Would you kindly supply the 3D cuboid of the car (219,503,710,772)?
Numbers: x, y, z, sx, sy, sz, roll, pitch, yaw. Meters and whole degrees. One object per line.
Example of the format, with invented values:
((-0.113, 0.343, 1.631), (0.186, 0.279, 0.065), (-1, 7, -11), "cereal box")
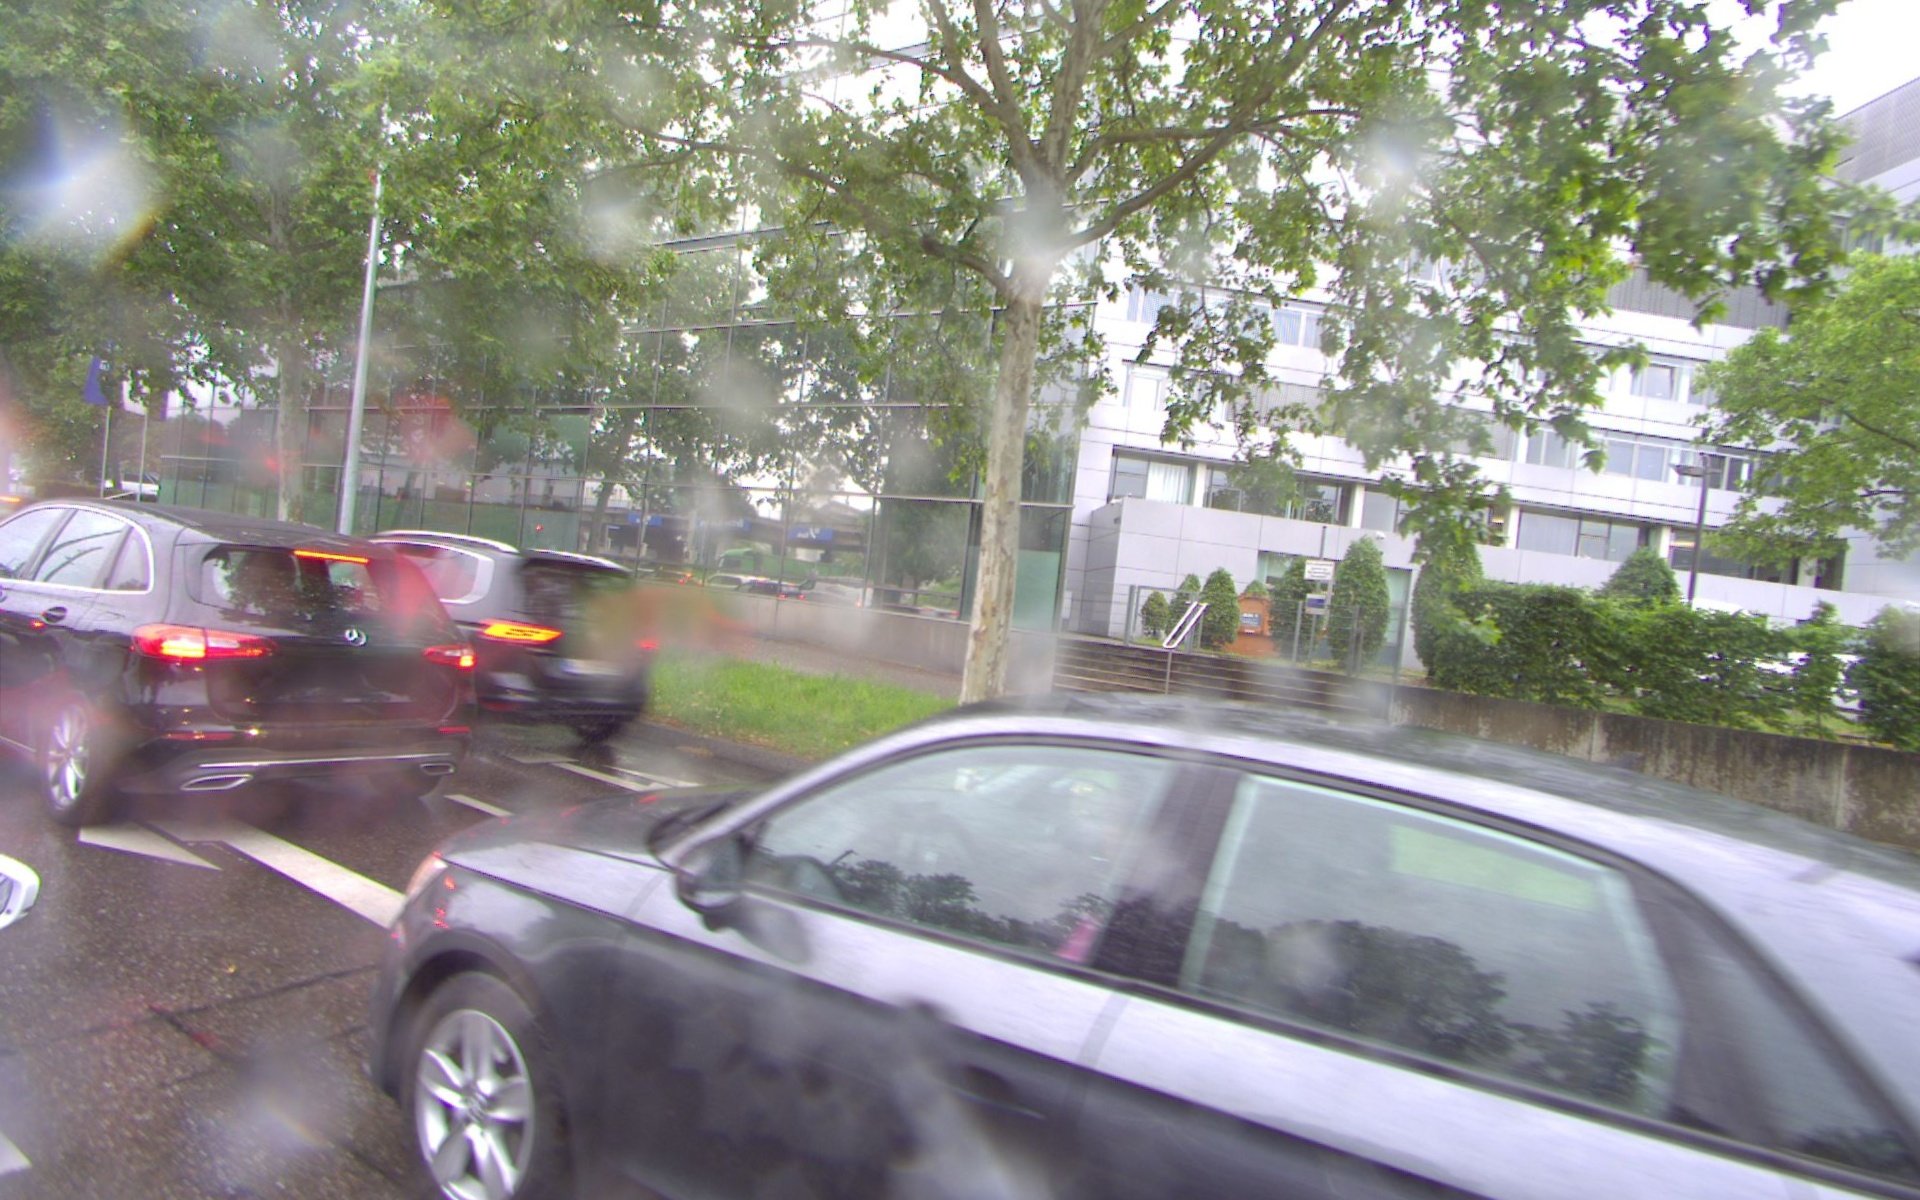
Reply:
((-4.520, 0.252, 9.062), (4.120, 1.746, 1.860), (6, -1, 30), "car")

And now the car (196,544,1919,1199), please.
((0.287, 0.866, 2.491), (3.932, 1.469, 1.998), (6, -2, 30), "car")

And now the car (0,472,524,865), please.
((-4.684, 0.183, 5.963), (3.932, 1.568, 1.712), (8, 0, 30), "car")

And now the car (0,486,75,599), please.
((-15.688, -1.067, 15.470), (4.042, 1.554, 1.843), (6, -2, 31), "car")
